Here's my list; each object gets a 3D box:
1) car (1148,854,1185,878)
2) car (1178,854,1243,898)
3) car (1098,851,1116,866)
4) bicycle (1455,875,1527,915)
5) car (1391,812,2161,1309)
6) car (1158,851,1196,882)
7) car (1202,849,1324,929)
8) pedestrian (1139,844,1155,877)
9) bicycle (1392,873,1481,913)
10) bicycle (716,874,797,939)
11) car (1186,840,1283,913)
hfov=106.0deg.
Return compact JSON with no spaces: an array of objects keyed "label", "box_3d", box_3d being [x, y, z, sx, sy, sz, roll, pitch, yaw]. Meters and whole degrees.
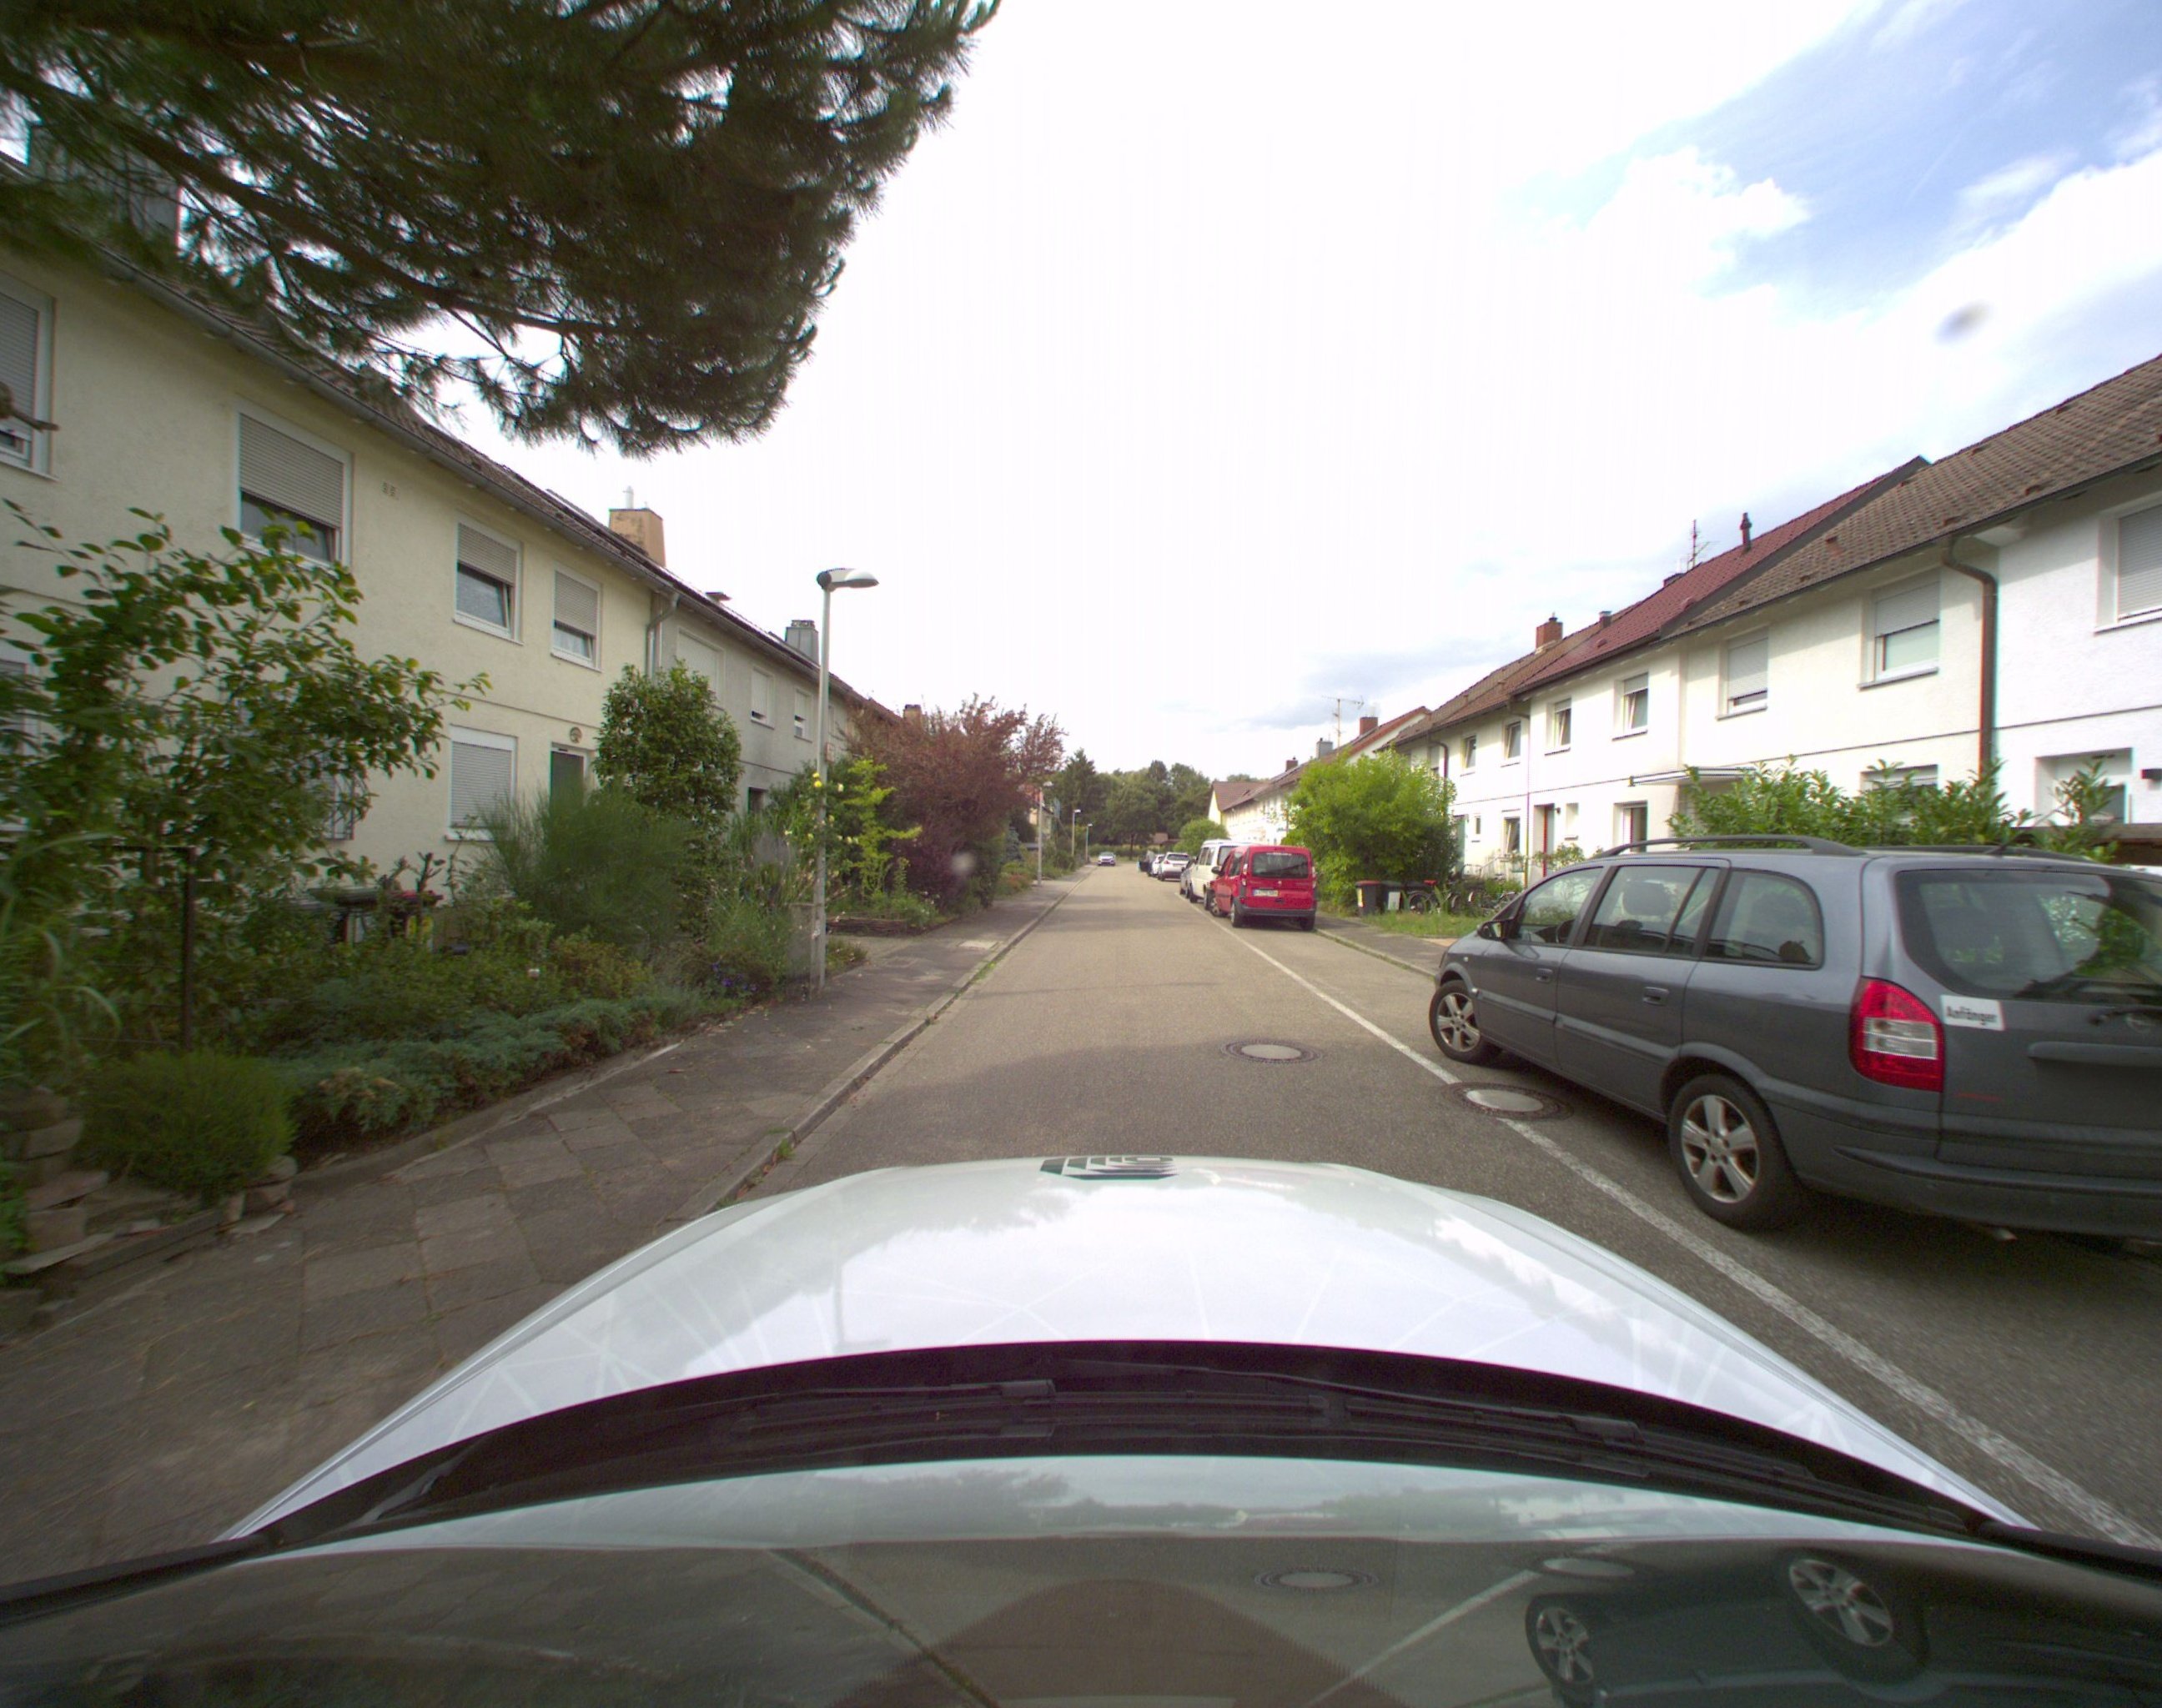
[{"label":"car","box_3d":[5.329,0.693,51.342,1.832,1.413,4.636,0,0,0]},{"label":"car","box_3d":[4.566,0.732,29.242,1.893,1.459,4.133,0,0,3]},{"label":"car","box_3d":[2.860,0.510,88.721,1.926,1.556,4.638,0,0,3]},{"label":"bicycle","box_3d":[9.601,0.946,19.067,1.596,0.865,0.739,0,0,-29]},{"label":"car","box_3d":[3.660,0.691,4.970,1.861,1.653,4.464,1,0,0]},{"label":"car","box_3d":[5.154,0.648,43.969,1.707,1.543,3.976,3,0,3]},{"label":"car","box_3d":[4.121,0.710,19.141,1.805,1.651,4.408,0,0,-1]},{"label":"pedestrian","box_3d":[4.179,0.390,51.276,0.909,2.013,0.951,1,0,0]},{"label":"bicycle","box_3d":[8.374,0.908,19.231,1.871,0.908,0.560,1,0,-1]},{"label":"bicycle","box_3d":[-5.216,0.813,13.036,1.682,0.892,0.532,2,1,43]},{"label":"car","box_3d":[4.411,0.582,24.137,2.014,1.947,4.747,0,0,0]}]
